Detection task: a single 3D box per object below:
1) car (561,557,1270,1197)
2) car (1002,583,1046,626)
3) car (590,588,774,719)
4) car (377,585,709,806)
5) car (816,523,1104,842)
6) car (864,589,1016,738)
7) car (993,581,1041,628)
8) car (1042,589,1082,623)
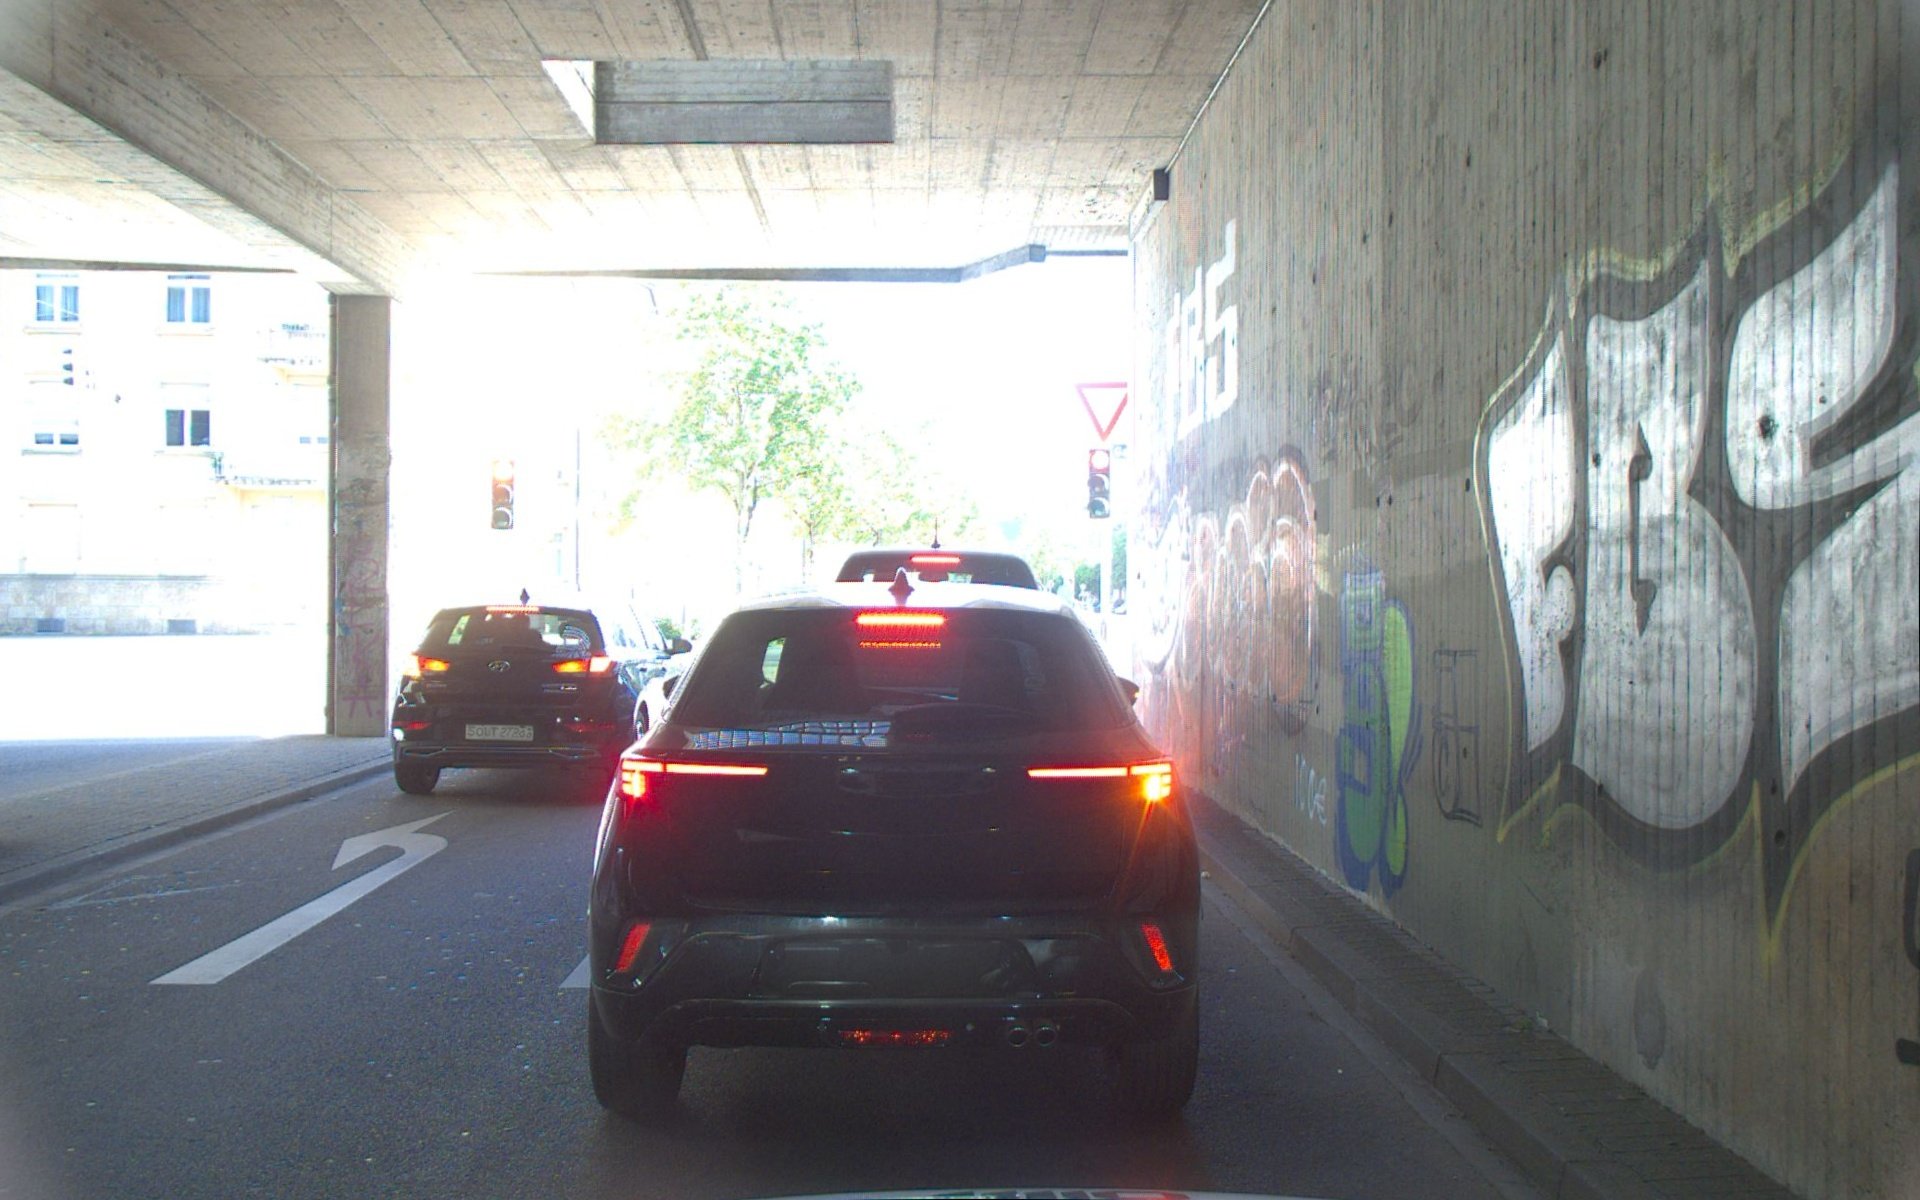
[{"bbox_3d":[-0.134,0.673,6.092,1.726,1.558,4.088,0,0,-1],"label":"car"},{"bbox_3d":[2.676,0.203,68.357,1.717,1.696,3.946,1,0,3],"label":"car"},{"bbox_3d":[-3.414,0.609,20.955,1.726,1.506,3.843,0,0,-1],"label":"car"},{"bbox_3d":[-3.144,0.648,13.234,1.726,1.506,3.843,0,0,-1],"label":"car"},{"bbox_3d":[-0.027,0.491,12.036,1.726,1.915,4.145,0,0,-1],"label":"car"},{"bbox_3d":[-0.232,0.658,19.251,1.576,1.539,4.053,0,0,-1],"label":"car"},{"bbox_3d":[2.186,0.169,62.231,1.717,1.696,3.946,1,0,3],"label":"car"},{"bbox_3d":[5.284,0.317,85.037,1.716,1.696,3.947,1,0,8],"label":"car"}]
